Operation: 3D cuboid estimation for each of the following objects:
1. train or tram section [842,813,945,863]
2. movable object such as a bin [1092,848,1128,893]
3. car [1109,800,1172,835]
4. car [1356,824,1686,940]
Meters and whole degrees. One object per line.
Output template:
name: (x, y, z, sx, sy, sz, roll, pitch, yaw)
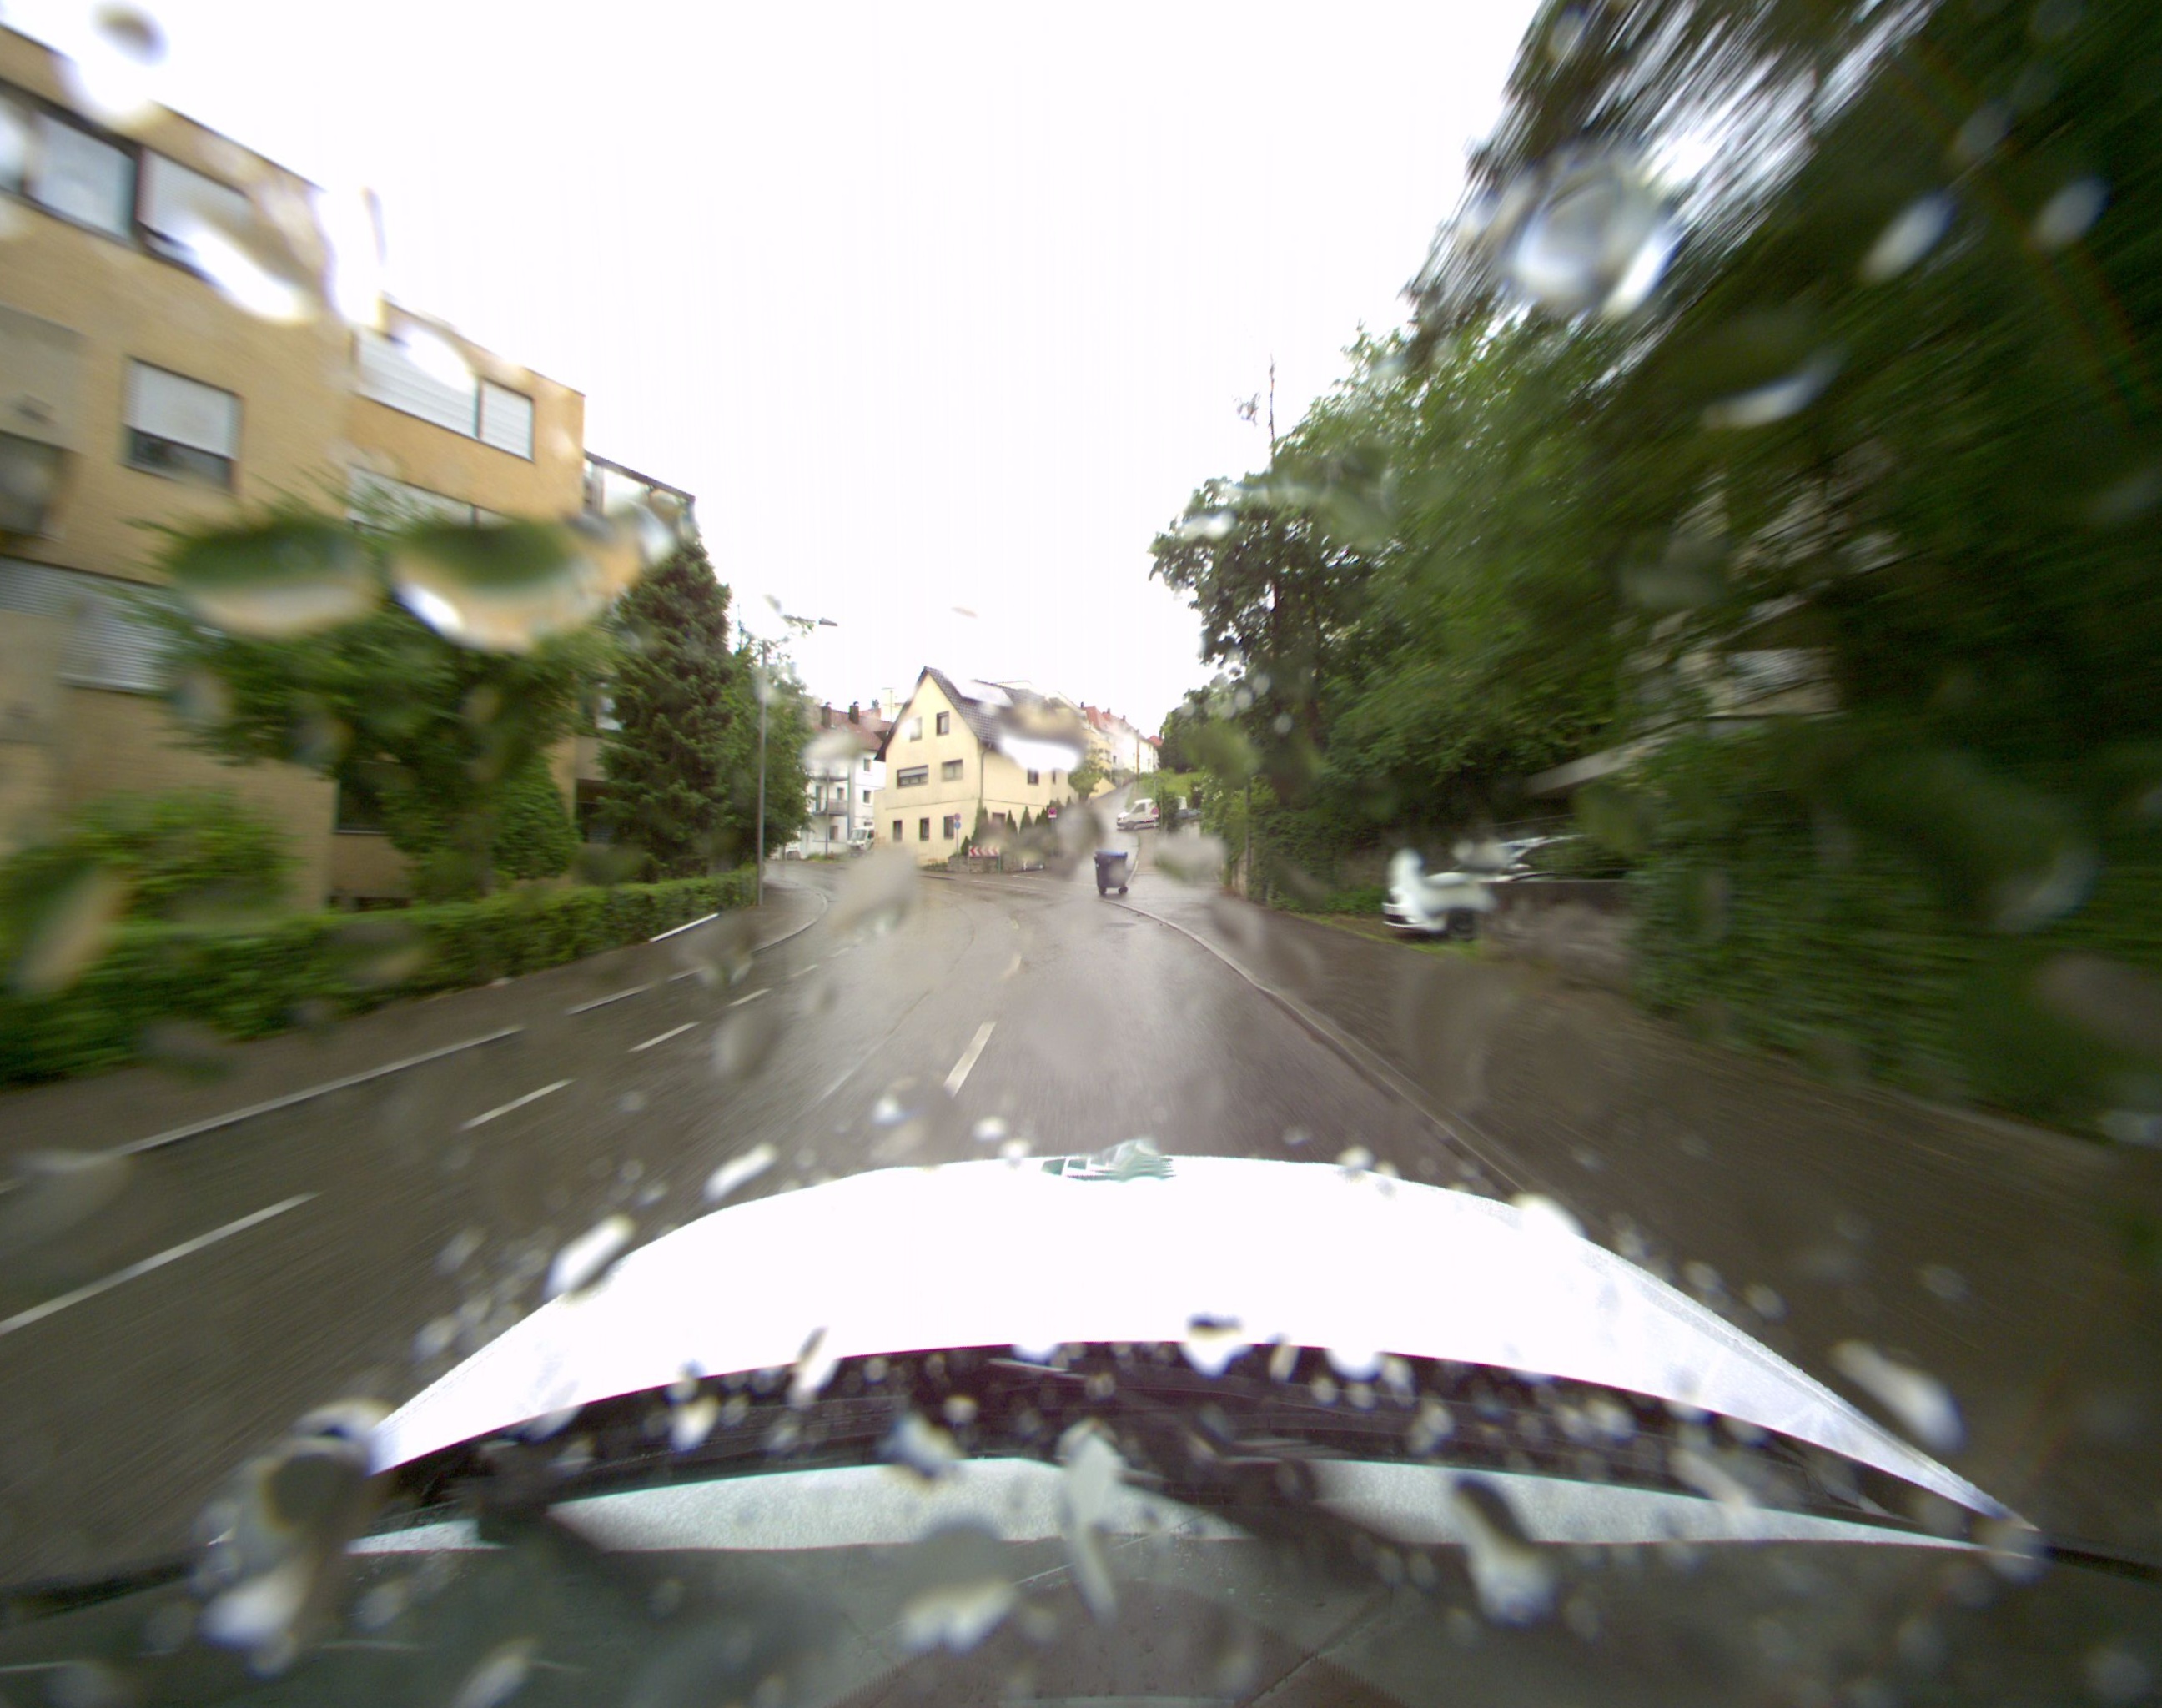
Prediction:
train or tram section: (-12.737, -1.062, 55.920, 2.335, 3.203, 6.914, -1, 0, 37)
movable object such as a bin: (0.969, 0.520, 26.522, 1.076, 1.442, 1.460, 0, 0, 5)
car: (4.909, -3.009, 67.686, 4.926, 2.569, 1.904, -3, 0, 0)
car: (6.733, 0.413, 12.830, 4.128, 1.476, 1.905, -3, 0, 1)
